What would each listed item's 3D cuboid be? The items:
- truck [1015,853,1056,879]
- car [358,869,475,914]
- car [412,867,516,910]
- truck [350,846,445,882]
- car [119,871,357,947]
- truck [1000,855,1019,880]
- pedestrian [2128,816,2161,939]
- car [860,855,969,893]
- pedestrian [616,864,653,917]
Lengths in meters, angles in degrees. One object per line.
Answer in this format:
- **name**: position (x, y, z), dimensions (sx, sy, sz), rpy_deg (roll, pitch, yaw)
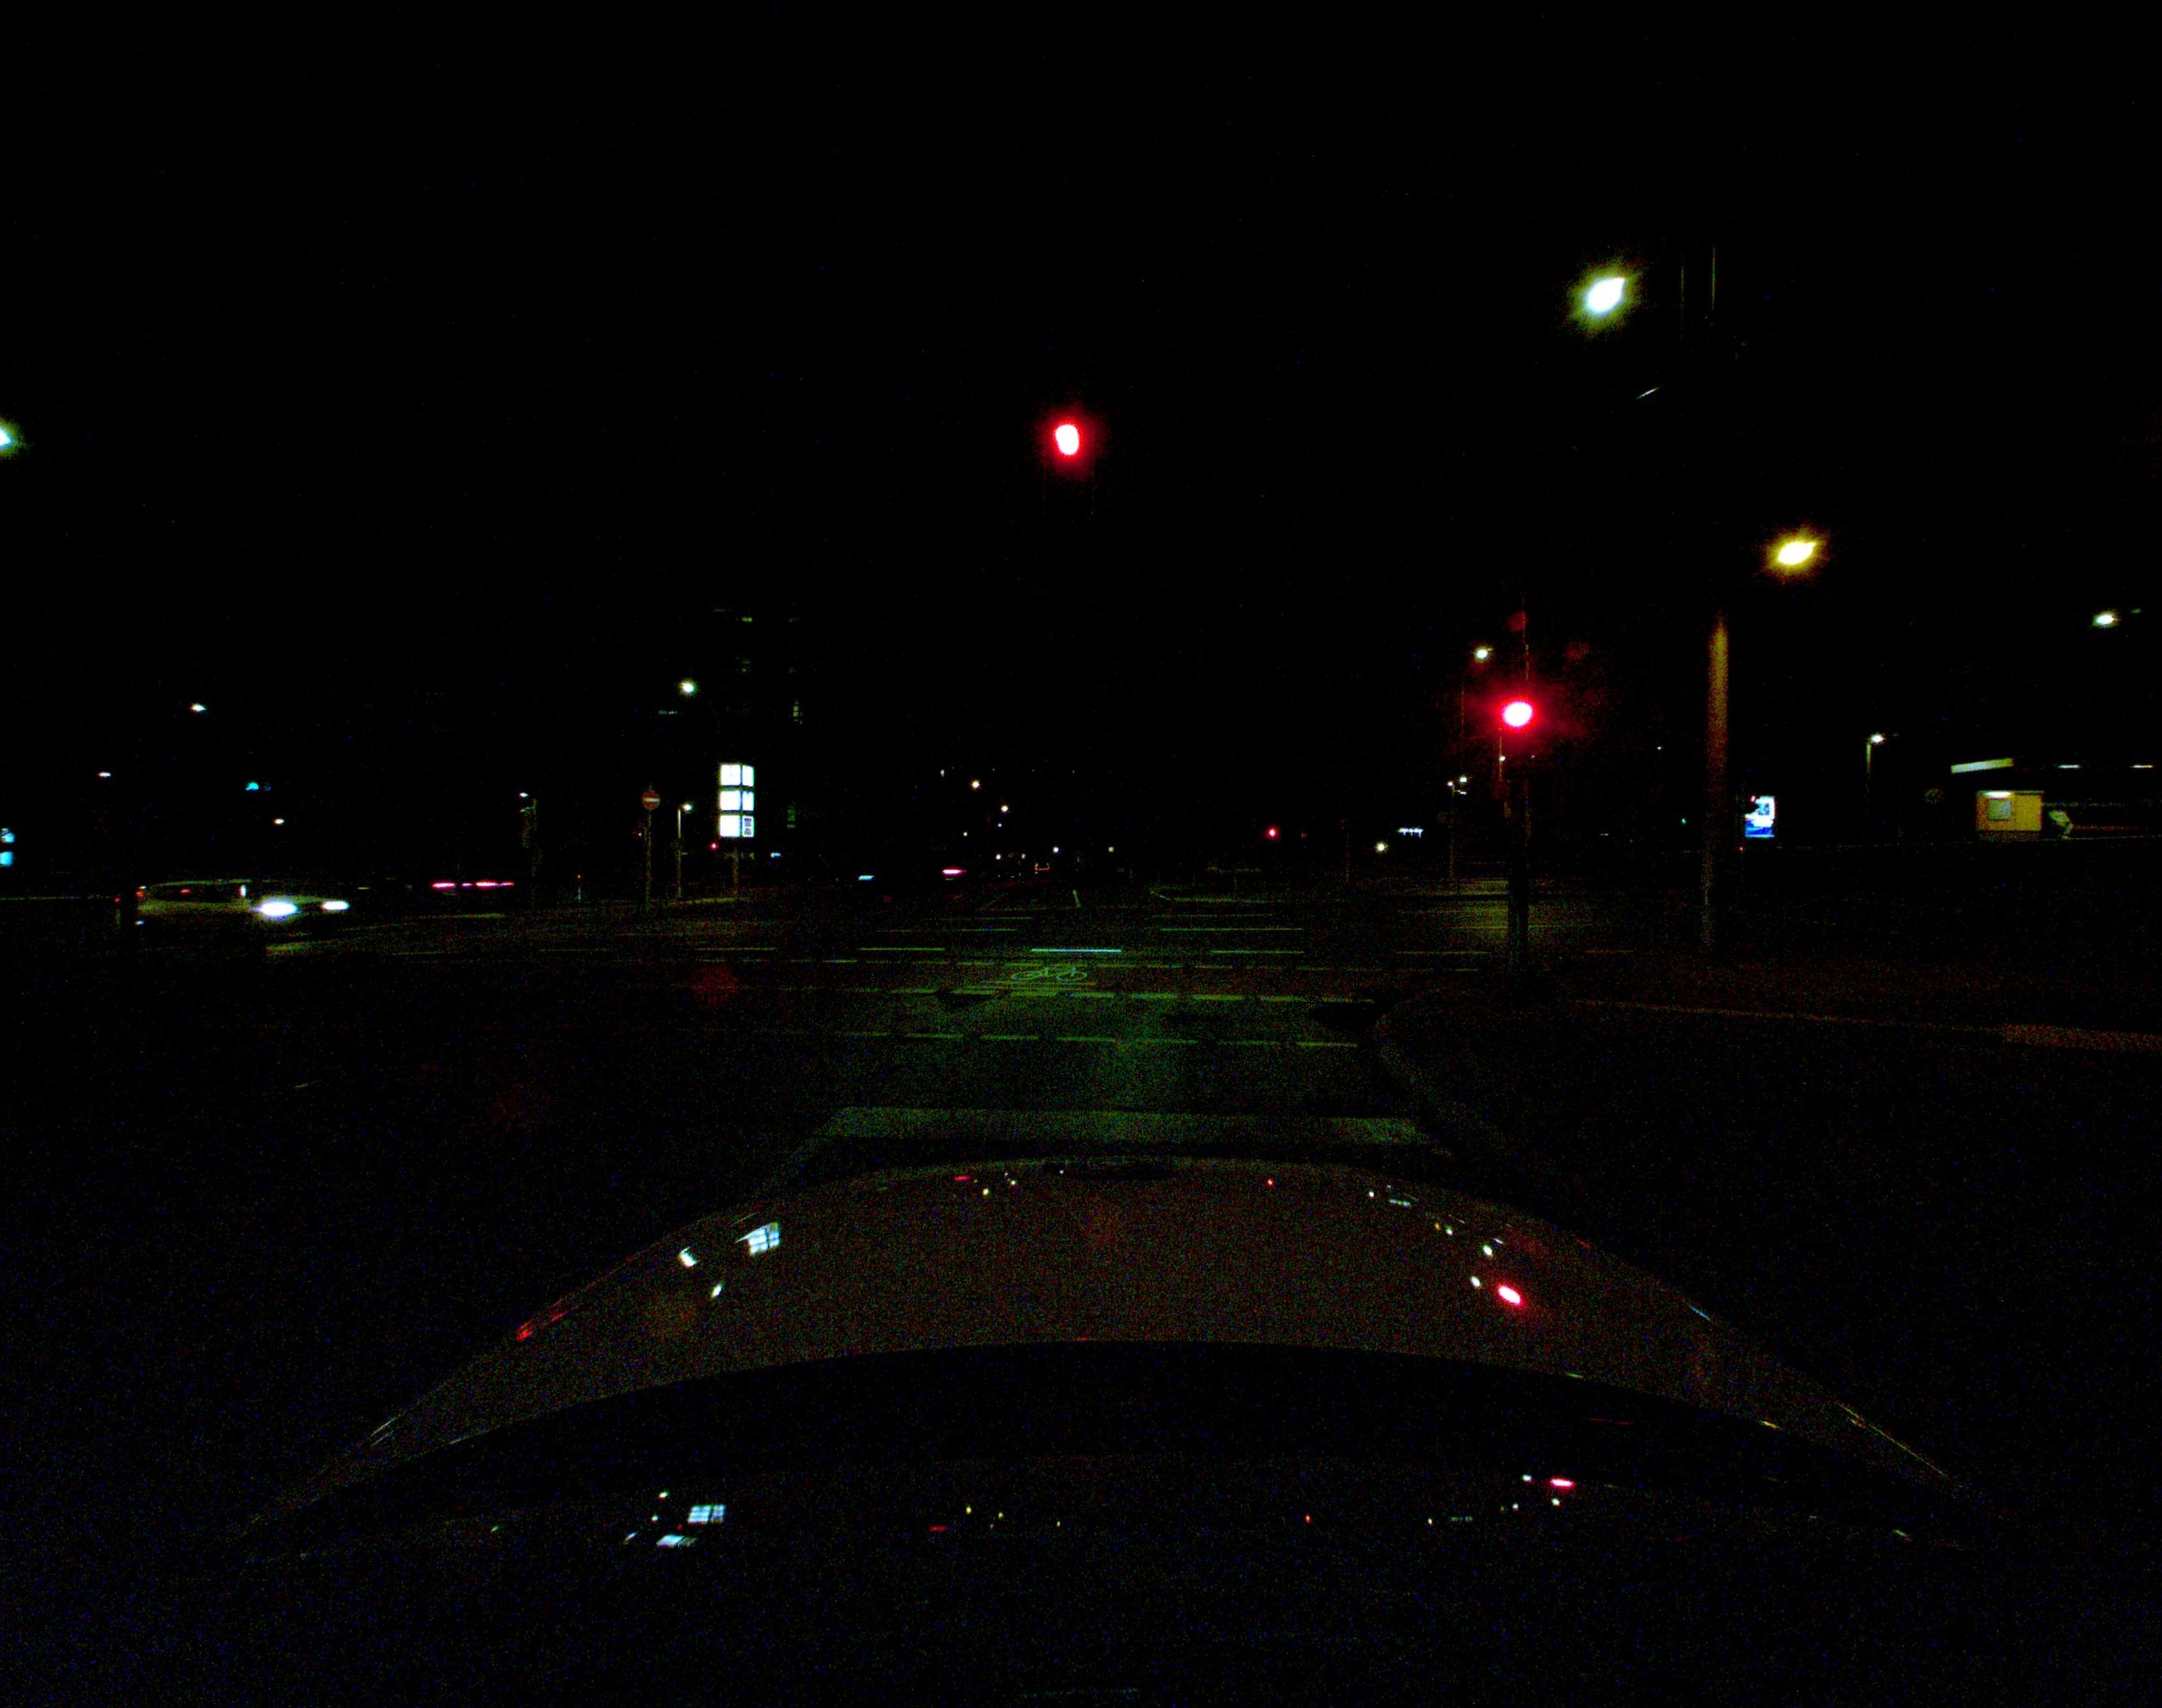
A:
- **truck**: position (-8.547, 2.225, 151.649), dimensions (4.835, 4.547, 12.591), rpy_deg (0, -1, -17)
- **car**: position (-32.849, 1.816, 40.339), dimensions (4.163, 1.975, 2.002), rpy_deg (-3, -1, 4)
- **car**: position (-32.798, 1.829, 43.376), dimensions (3.971, 2.014, 2.001), rpy_deg (-3, -1, 2)
- **truck**: position (-59.809, 0.881, 71.363), dimensions (5.873, 3.088, 2.915), rpy_deg (0, -1, 3)
- **car**: position (-21.283, 1.370, 20.666), dimensions (4.261, 1.683, 1.879), rpy_deg (-2, 1, 5)
- **truck**: position (-10.486, 1.959, 119.655), dimensions (2.580, 3.707, 5.723), rpy_deg (0, -1, -7)
- **pedestrian**: position (15.799, 0.314, 11.505), dimensions (0.752, 1.745, 0.834), rpy_deg (-3, -3, 1)
- **car**: position (-7.764, 0.924, 38.309), dimensions (4.595, 1.728, 2.003), rpy_deg (0, -1, 5)
- **pedestrian**: position (-13.946, 1.135, 25.444), dimensions (0.667, 1.634, 0.862), rpy_deg (0, -1, -3)
